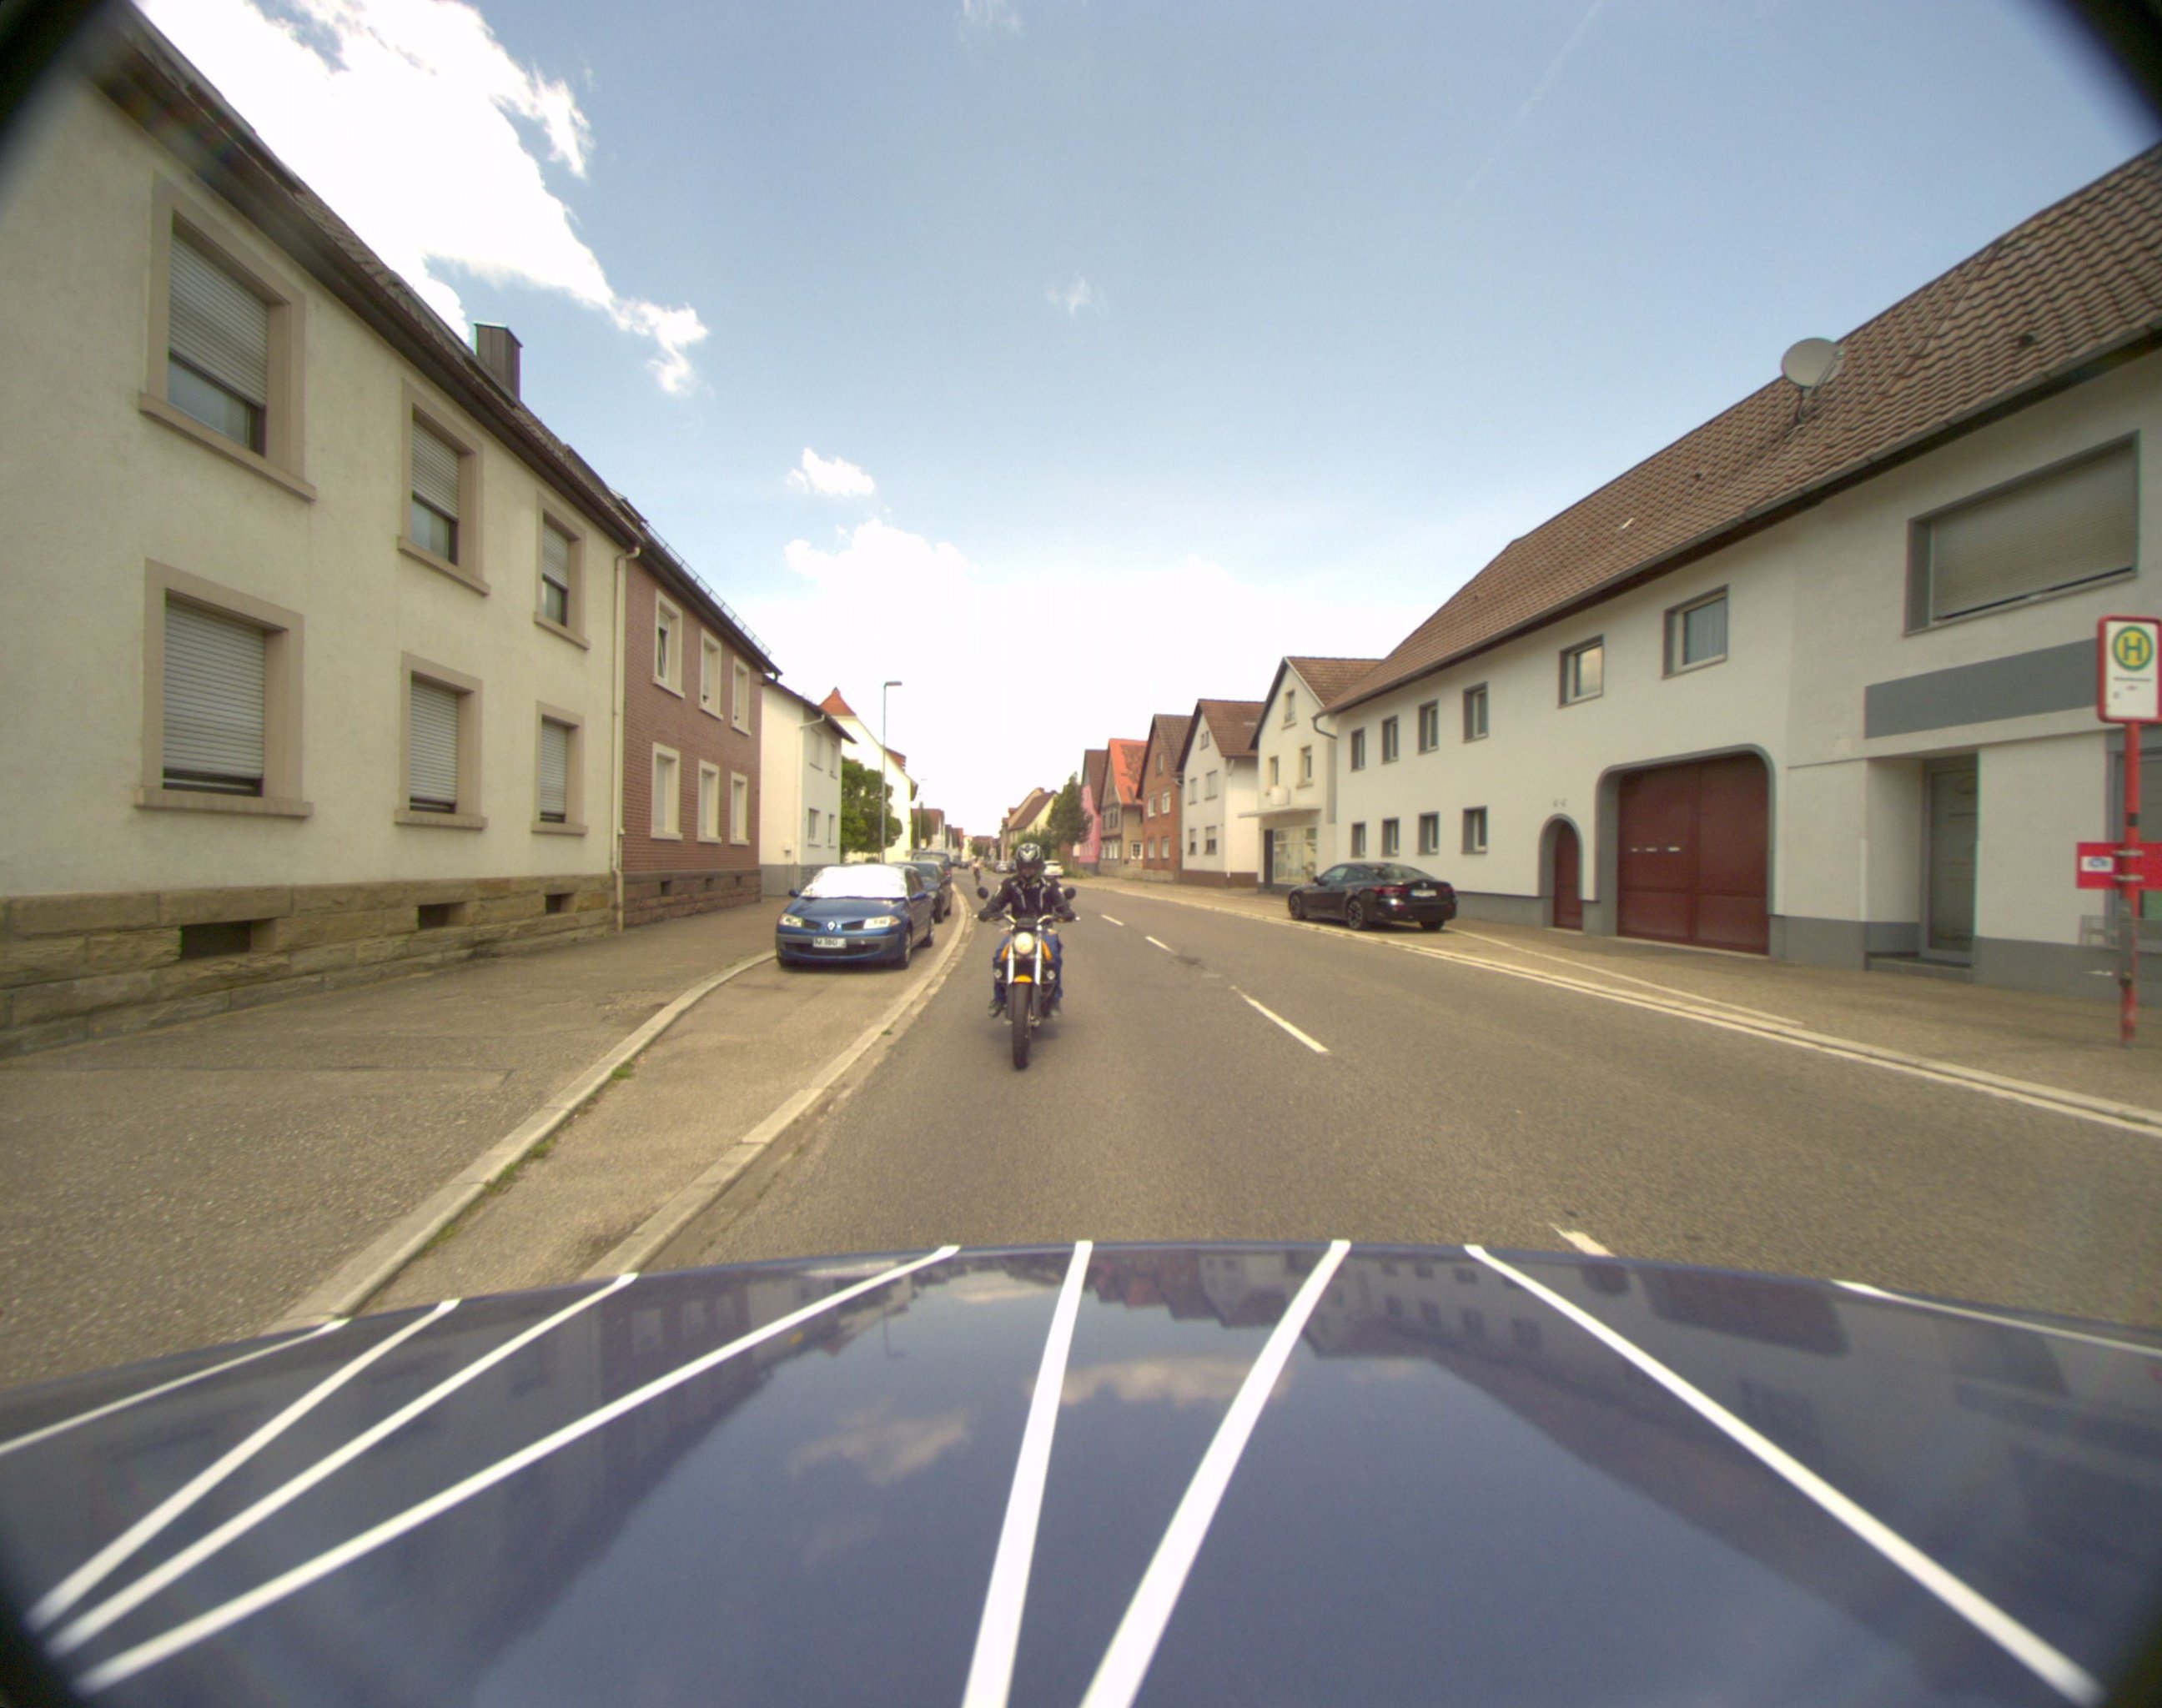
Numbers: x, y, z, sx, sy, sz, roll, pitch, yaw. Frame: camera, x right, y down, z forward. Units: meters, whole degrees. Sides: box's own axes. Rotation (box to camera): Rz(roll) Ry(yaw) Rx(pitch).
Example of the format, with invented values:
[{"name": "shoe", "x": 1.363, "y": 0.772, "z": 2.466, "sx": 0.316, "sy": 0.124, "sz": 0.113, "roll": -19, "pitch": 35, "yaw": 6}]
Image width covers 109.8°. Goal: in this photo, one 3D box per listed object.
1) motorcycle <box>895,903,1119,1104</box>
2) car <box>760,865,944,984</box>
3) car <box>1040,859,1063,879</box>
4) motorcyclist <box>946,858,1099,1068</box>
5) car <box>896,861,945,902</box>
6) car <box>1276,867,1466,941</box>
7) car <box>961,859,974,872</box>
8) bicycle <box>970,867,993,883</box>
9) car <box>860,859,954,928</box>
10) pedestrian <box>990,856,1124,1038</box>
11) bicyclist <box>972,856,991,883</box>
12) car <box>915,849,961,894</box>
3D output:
[{"name": "motorcycle", "x": -0.494, "y": 1.091, "z": 6.293, "sx": 0.983, "sy": 1.233, "sz": 2.106, "roll": -2, "pitch": -1, "yaw": 20}, {"name": "car", "x": -3.263, "y": 0.928, "z": 11.626, "sx": 1.727, "sy": 1.377, "sz": 3.998, "roll": 1, "pitch": 1, "yaw": -2}, {"name": "car", "x": -2.555, "y": 1.231, "z": 64.737, "sx": 1.684, "sy": 1.521, "sz": 3.496, "roll": -1, "pitch": 1, "yaw": -7}, {"name": "motorcyclist", "x": -0.465, "y": 0.841, "z": 6.337, "sx": 0.998, "sy": 1.591, "sz": 0.801, "roll": 0, "pitch": 2, "yaw": 20}, {"name": "car", "x": -6.308, "y": 1.018, "z": 30.188, "sx": 1.745, "sy": 1.495, "sz": 4.554, "roll": 0, "pitch": 0, "yaw": -11}, {"name": "car", "x": 6.069, "y": 0.972, "z": 16.619, "sx": 1.771, "sy": 1.341, "sz": 4.753, "roll": -1, "pitch": -1, "yaw": -8}, {"name": "car", "x": -18.714, "y": 1.810, "z": 125.342, "sx": 2.000, "sy": 2.002, "sz": 3.997, "roll": -1, "pitch": 1, "yaw": -7}, {"name": "bicycle", "x": -6.222, "y": 1.316, "z": 47.605, "sx": 0.933, "sy": 1.005, "sz": 1.926, "roll": -1, "pitch": -1, "yaw": 9}, {"name": "car", "x": -4.182, "y": 0.959, "z": 18.861, "sx": 1.773, "sy": 1.520, "sz": 3.999, "roll": 0, "pitch": -2, "yaw": -5}, {"name": "pedestrian", "x": -0.204, "y": 0.812, "z": 7.132, "sx": 0.998, "sy": 1.565, "sz": 0.801, "roll": 0, "pitch": 2, "yaw": 20}, {"name": "bicyclist", "x": -6.229, "y": 0.964, "z": 47.580, "sx": 0.908, "sy": 1.679, "sz": 0.761, "roll": -1, "pitch": 2, "yaw": 9}, {"name": "car", "x": -6.759, "y": 0.746, "z": 36.354, "sx": 1.932, "sy": 1.904, "sz": 5.241, "roll": -1, "pitch": 1, "yaw": -8}]
